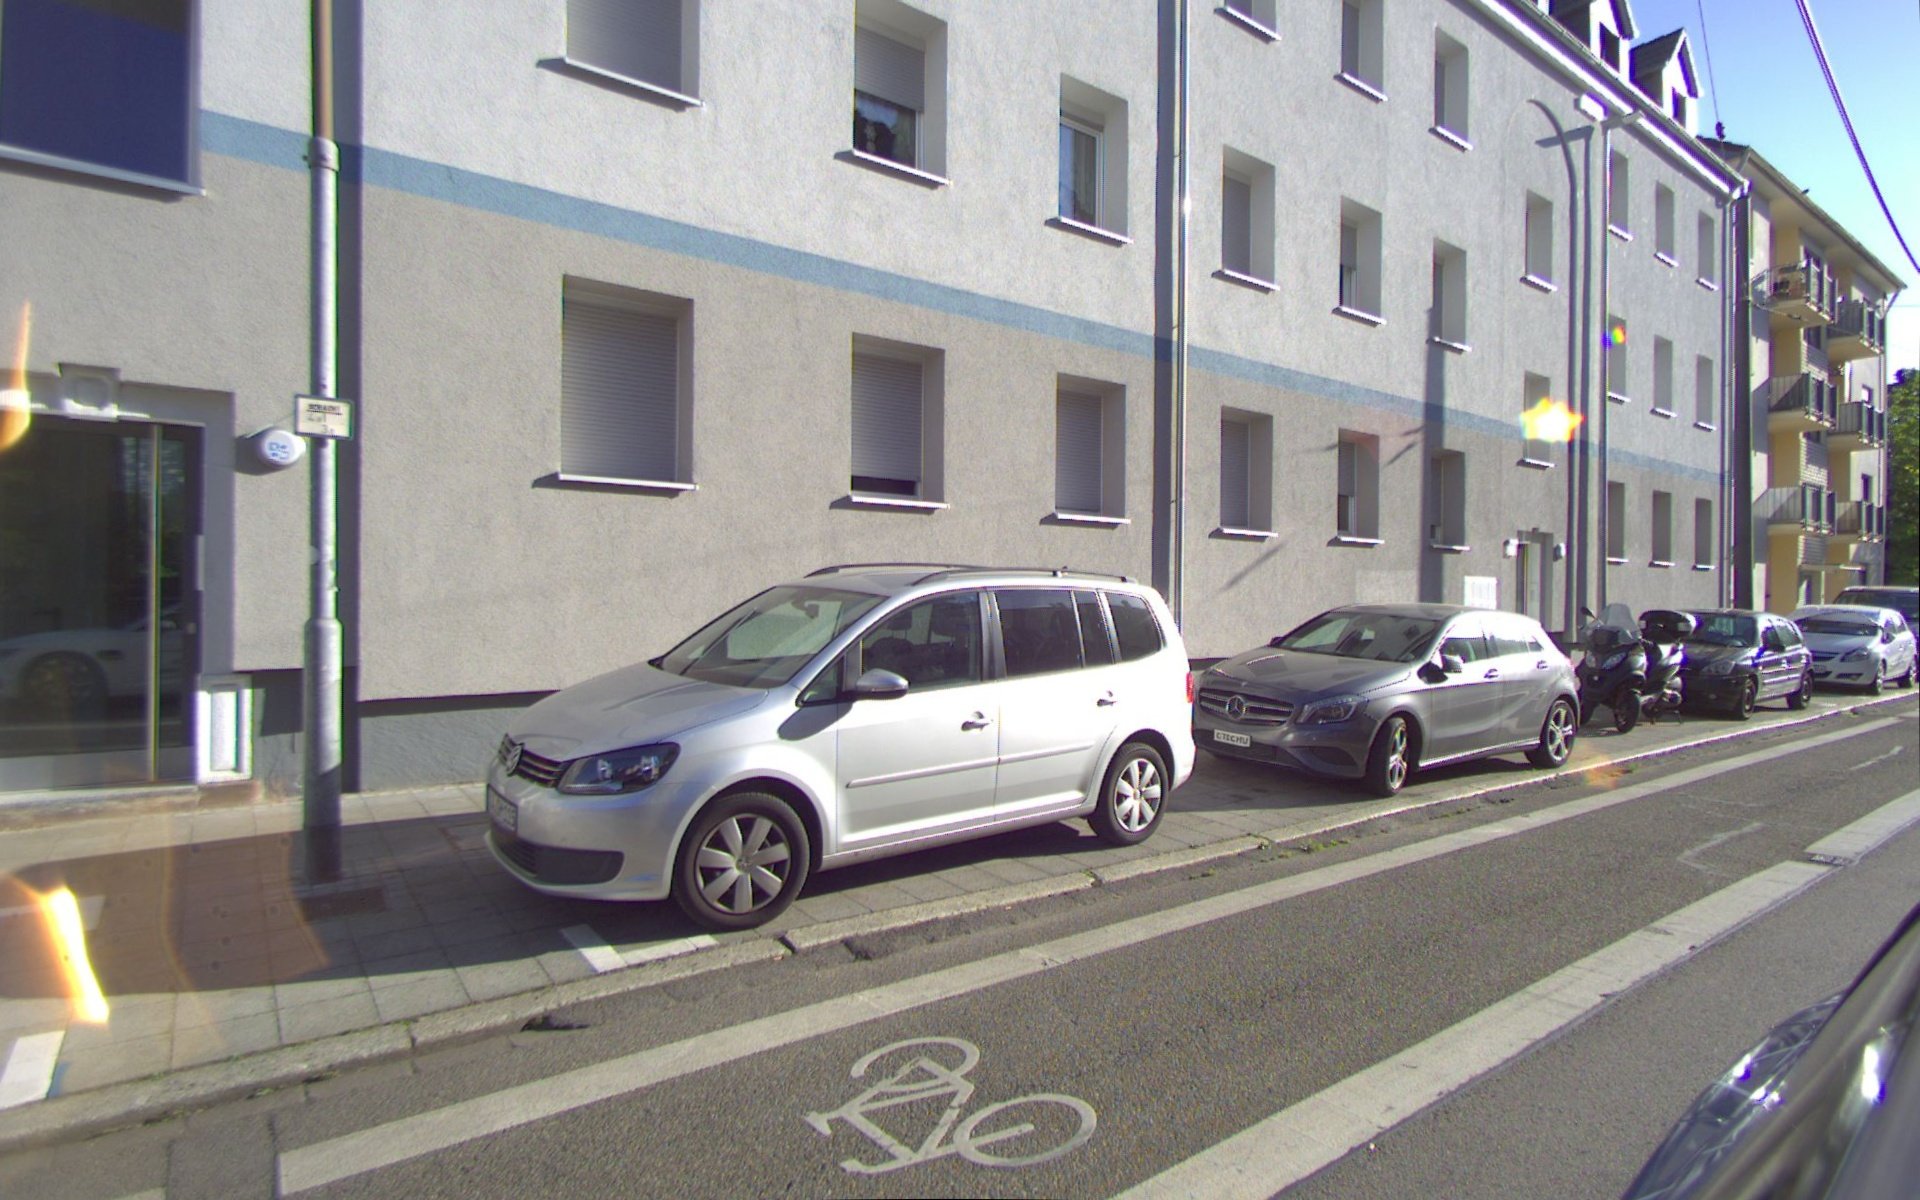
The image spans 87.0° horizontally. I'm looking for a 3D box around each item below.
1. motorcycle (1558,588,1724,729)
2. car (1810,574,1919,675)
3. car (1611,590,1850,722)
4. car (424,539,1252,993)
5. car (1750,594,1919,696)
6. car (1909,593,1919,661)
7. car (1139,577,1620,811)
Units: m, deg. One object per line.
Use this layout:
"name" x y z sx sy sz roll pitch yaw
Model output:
"motorcycle" 8.294 0.642 12.270 2.658 1.541 0.808 0 1 -37
"car" 20.264 0.472 21.701 4.909 1.945 1.936 0 2 -36
"car" 11.000 0.696 14.377 3.830 1.590 1.614 0 2 -36
"car" -0.399 0.581 5.881 4.543 1.686 1.759 0 2 -40
"car" 16.010 0.732 18.301 3.832 1.590 1.806 0 2 -38
"car" 24.496 0.664 24.396 4.140 1.590 1.614 0 2 -37
"car" 3.813 0.638 8.954 4.282 1.574 1.871 0 2 -35
